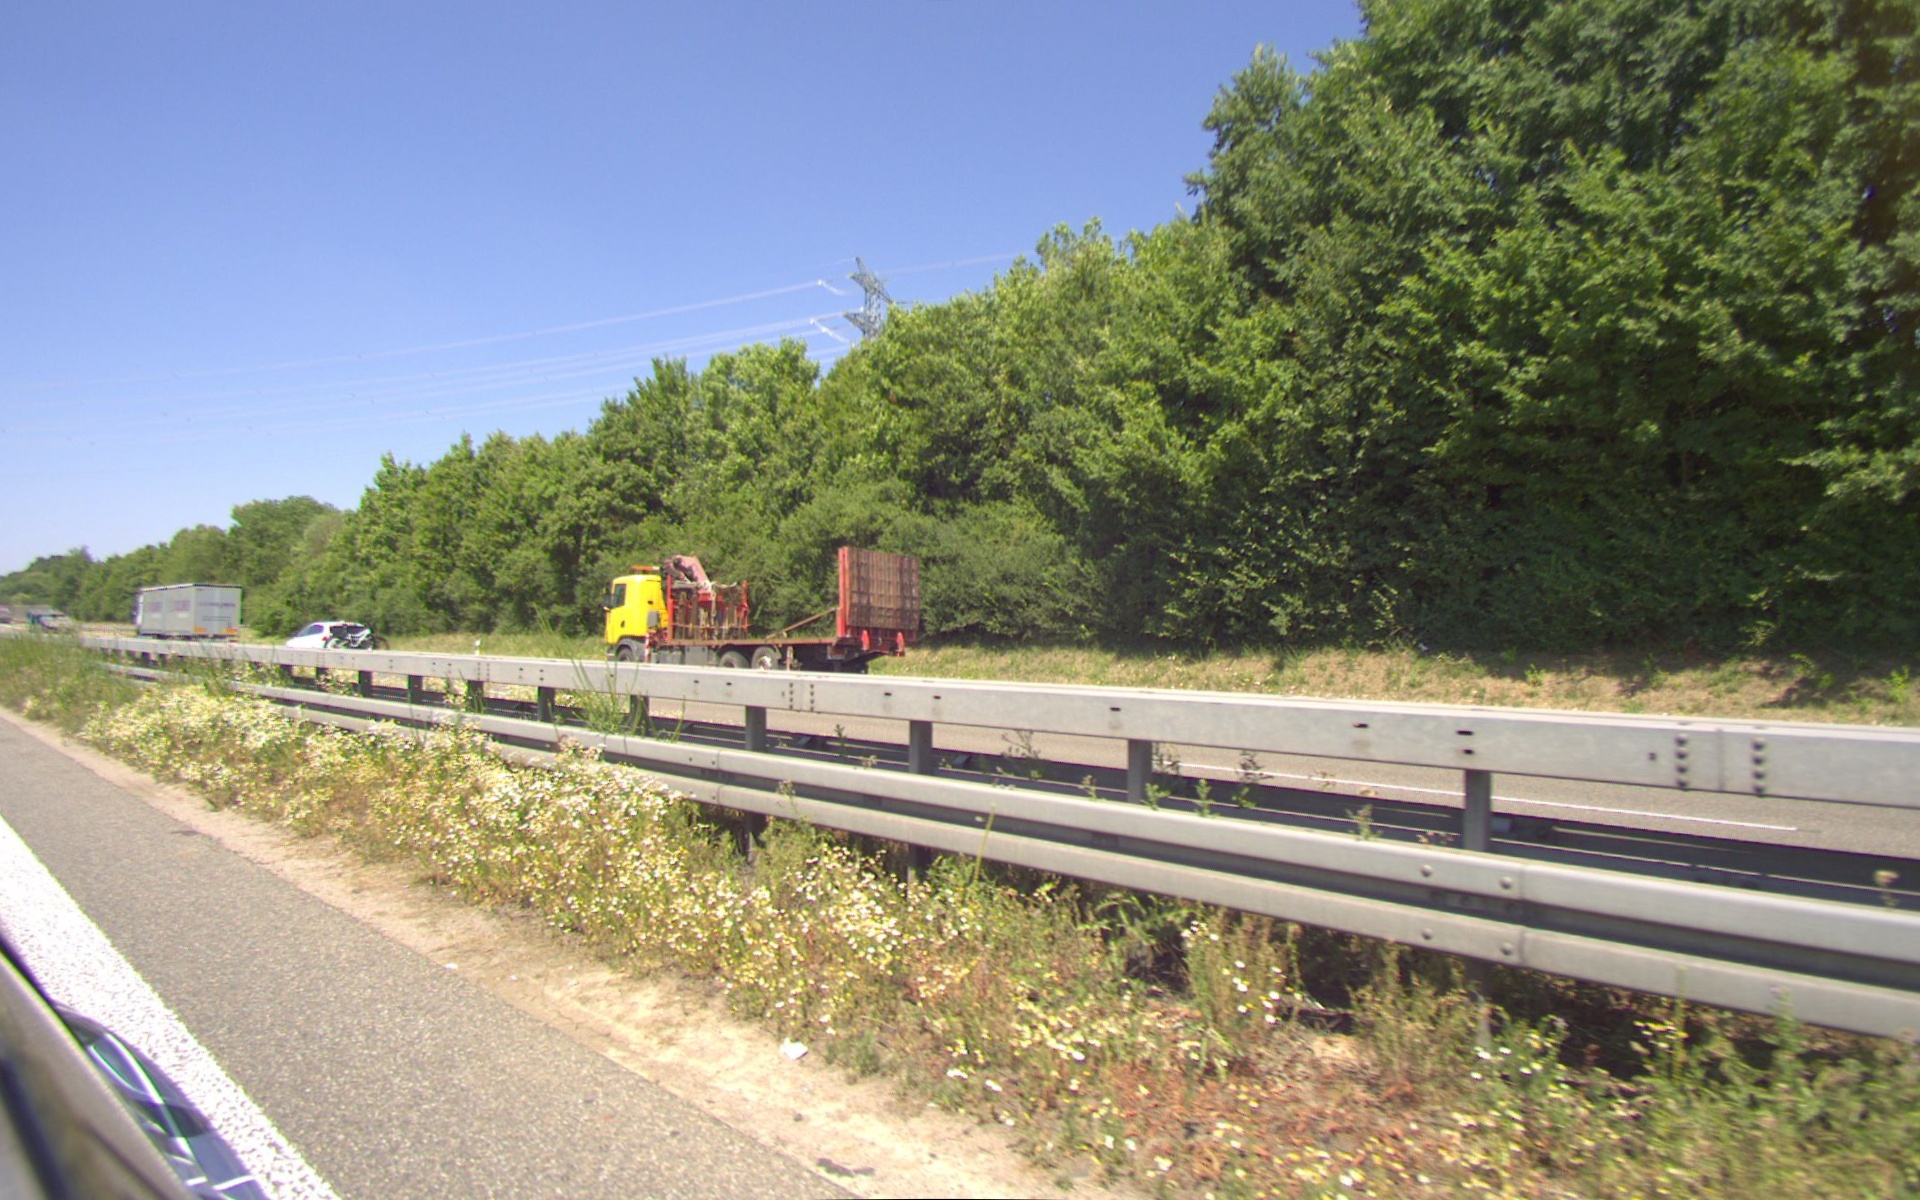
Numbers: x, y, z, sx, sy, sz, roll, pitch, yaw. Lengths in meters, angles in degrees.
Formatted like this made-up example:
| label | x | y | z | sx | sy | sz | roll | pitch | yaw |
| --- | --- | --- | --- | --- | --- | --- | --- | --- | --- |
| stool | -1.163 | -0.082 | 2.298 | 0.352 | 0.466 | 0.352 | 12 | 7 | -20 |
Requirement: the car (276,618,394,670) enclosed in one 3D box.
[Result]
| label | x | y | z | sx | sy | sz | roll | pitch | yaw |
| --- | --- | --- | --- | --- | --- | --- | --- | --- | --- |
| car | -22.319 | 1.547 | 36.052 | 5.609 | 1.683 | 1.973 | -1 | -3 | 41 |

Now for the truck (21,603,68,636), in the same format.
| label | x | y | z | sx | sy | sz | roll | pitch | yaw |
| --- | --- | --- | --- | --- | --- | --- | --- | --- | --- |
| truck | -109.596 | 2.330 | 121.064 | 10.786 | 3.831 | 2.964 | -1 | -2 | 42 |

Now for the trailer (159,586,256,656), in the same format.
| label | x | y | z | sx | sy | sz | roll | pitch | yaw |
| --- | --- | --- | --- | --- | --- | --- | --- | --- | --- |
| trailer | -49.610 | 1.297 | 66.620 | 7.964 | 4.312 | 3.418 | -1 | 0 | 40 |

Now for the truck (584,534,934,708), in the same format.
| label | x | y | z | sx | sy | sz | roll | pitch | yaw |
| --- | --- | --- | --- | --- | --- | --- | --- | --- | --- |
| truck | -5.739 | 0.469 | 26.575 | 11.152 | 3.767 | 2.754 | -1 | 0 | 41 |

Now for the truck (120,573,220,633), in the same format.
| label | x | y | z | sx | sy | sz | roll | pitch | yaw |
| --- | --- | --- | --- | --- | --- | --- | --- | --- | --- |
| truck | -56.936 | 0.326 | 72.817 | 11.115 | 4.025 | 3.418 | -1 | -2 | 40 |

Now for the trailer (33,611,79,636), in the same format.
| label | x | y | z | sx | sy | sz | roll | pitch | yaw |
| --- | --- | --- | --- | --- | --- | --- | --- | --- | --- |
| trailer | -102.407 | 2.644 | 114.637 | 8.531 | 2.659 | 3.112 | -1 | 0 | 43 |
